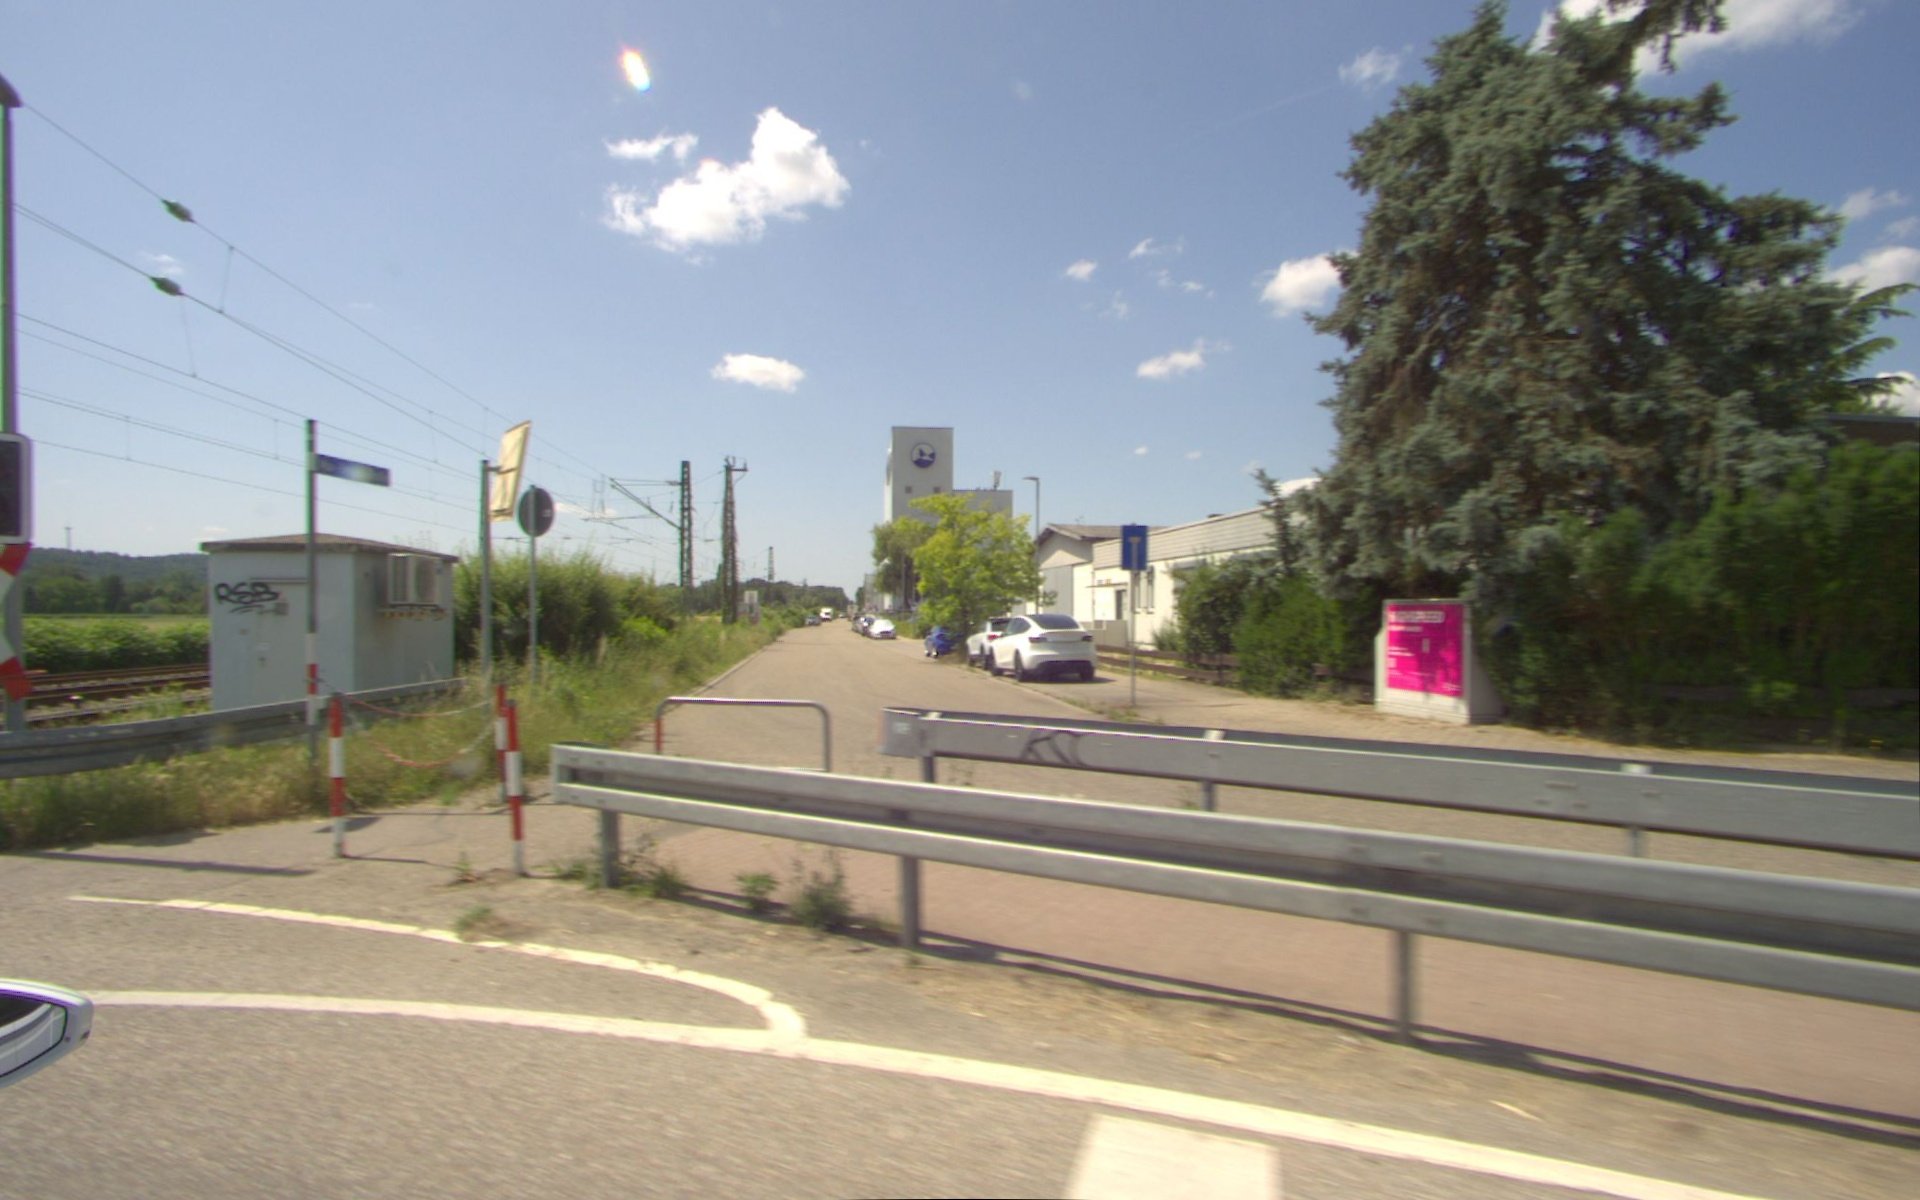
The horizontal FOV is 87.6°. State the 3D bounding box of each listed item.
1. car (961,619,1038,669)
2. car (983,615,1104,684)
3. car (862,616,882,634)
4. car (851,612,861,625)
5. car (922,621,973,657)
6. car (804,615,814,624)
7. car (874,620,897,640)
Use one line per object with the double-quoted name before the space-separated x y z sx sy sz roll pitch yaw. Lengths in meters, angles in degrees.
"car" 1.157 1.337 31.380 1.620 1.473 3.998 1 -1 -10
"car" 2.016 1.181 25.517 1.963 1.530 4.450 0 0 -11
"car" -7.720 2.190 87.696 1.566 1.472 3.332 0 0 -8
"car" -12.518 2.218 120.643 1.192 1.497 3.175 0 -1 -7
"car" -0.540 1.575 41.394 1.551 1.394 3.052 0 0 -12
"car" -23.720 3.054 157.290 1.620 1.497 2.901 0 -1 -7
"car" -5.657 2.239 75.956 1.566 1.472 3.332 0 0 -8
